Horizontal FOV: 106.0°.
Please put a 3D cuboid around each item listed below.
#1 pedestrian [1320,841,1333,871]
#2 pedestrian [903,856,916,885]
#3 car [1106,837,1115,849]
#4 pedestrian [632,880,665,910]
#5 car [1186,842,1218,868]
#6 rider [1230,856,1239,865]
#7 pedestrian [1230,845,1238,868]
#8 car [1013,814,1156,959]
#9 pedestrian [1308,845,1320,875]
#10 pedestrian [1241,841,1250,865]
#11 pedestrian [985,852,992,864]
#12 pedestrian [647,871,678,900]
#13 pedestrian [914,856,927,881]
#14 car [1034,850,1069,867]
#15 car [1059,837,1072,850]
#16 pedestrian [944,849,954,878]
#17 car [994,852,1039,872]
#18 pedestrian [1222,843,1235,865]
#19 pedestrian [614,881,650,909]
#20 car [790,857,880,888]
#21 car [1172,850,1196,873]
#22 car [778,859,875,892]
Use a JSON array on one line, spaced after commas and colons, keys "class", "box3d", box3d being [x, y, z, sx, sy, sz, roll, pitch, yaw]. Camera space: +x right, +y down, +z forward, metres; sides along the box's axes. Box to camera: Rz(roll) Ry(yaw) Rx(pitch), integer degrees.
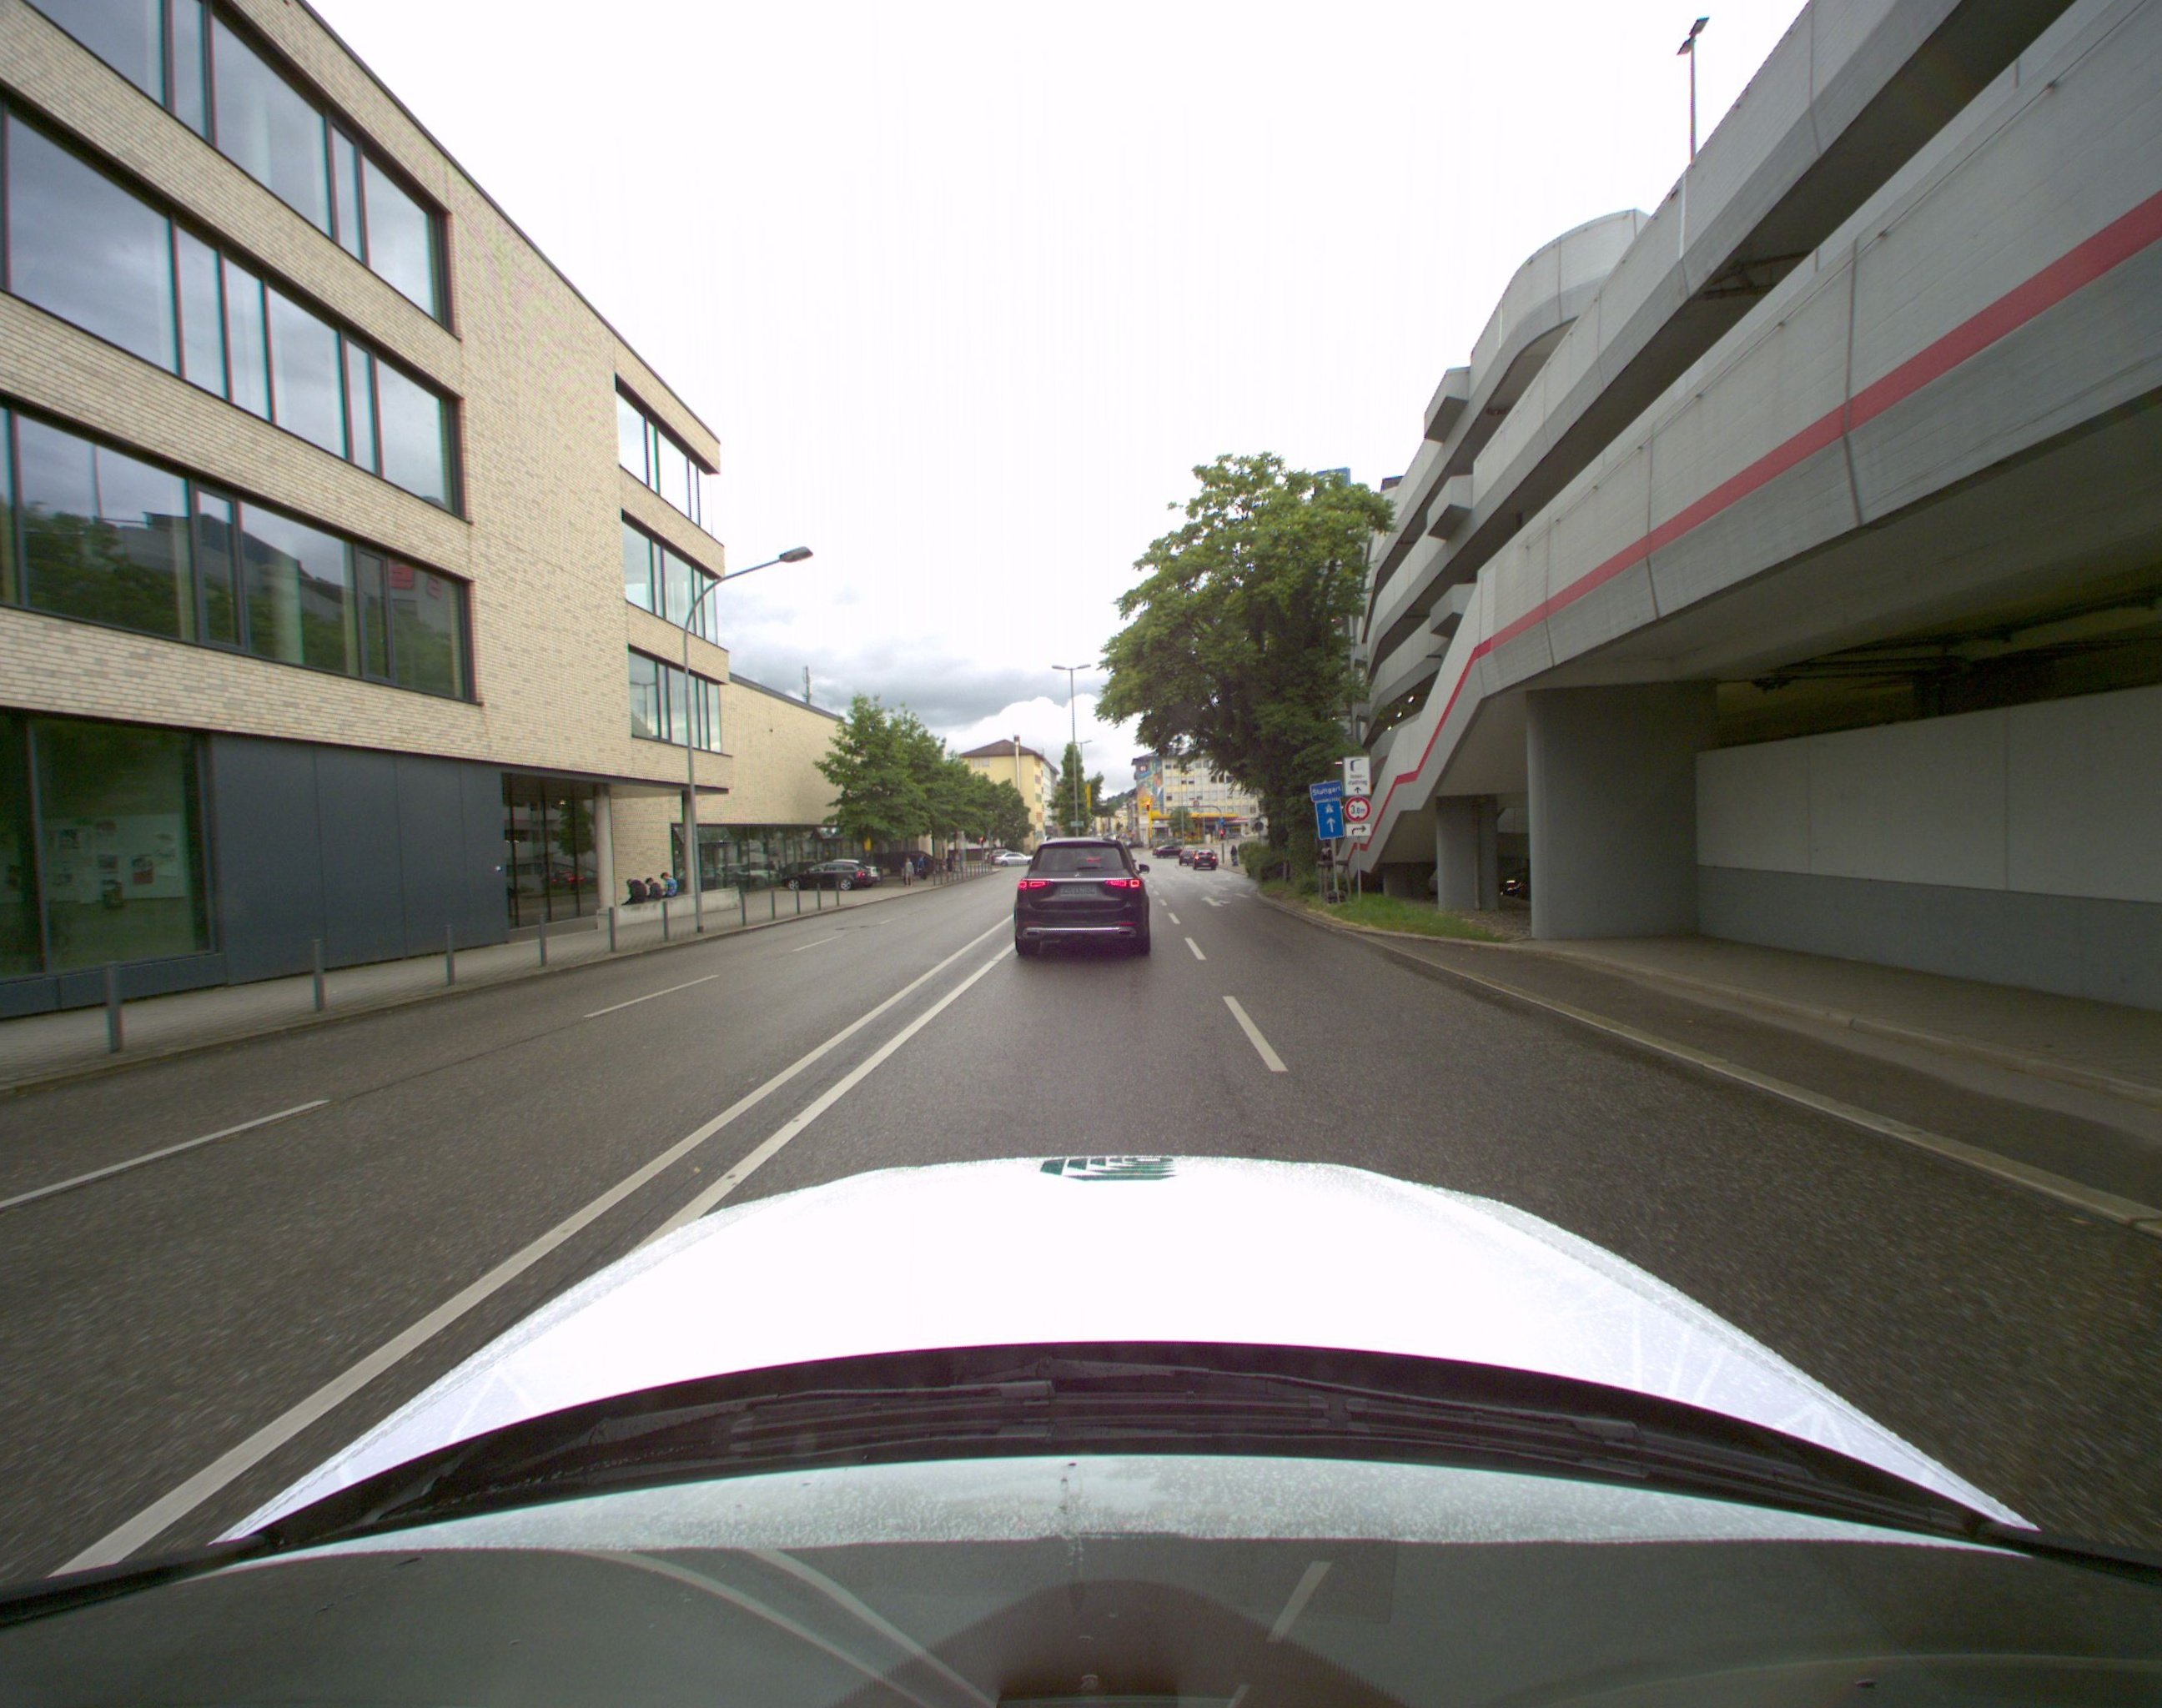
[{"class": "pedestrian", "box3d": [12.645, 0.097, 41.949, 0.578, 1.501, 0.505, 0, -1, 8]}, {"class": "pedestrian", "box3d": [-10.001, 0.971, 47.456, 0.673, 1.697, 0.479, 0, 0, 2]}, {"class": "car", "box3d": [6.515, -2.378, 178.892, 1.986, 2.011, 4.007, 0, 11, 1]}, {"class": "pedestrian", "box3d": [-12.932, 1.222, 24.363, 0.584, 0.845, 0.728, -1, -1, 3]}, {"class": "car", "box3d": [9.475, 0.055, 64.069, 1.986, 2.013, 4.001, -1, 0, 1]}, {"class": "rider", "box3d": [12.686, 0.499, 67.338, 0.626, 0.740, 0.698, 0, -1, 15]}, {"class": "pedestrian", "box3d": [12.785, 0.200, 68.069, 0.658, 1.917, 0.731, 0, -1, 10]}, {"class": "car", "box3d": [0.108, 0.466, 13.331, 1.986, 2.014, 4.001, 0, -1, 1]}, {"class": "pedestrian", "box3d": [12.057, 0.324, 42.108, 0.548, 1.532, 0.489, 0, -1, 9]}, {"class": "pedestrian", "box3d": [13.330, -0.112, 66.096, 0.618, 1.935, 0.610, 0, -1, 1]}, {"class": "pedestrian", "box3d": [-10.847, 0.470, 95.511, 0.708, 1.462, 0.598, 0, -1, 1]}, {"class": "pedestrian", "box3d": [-13.117, 0.989, 25.513, 0.678, 0.886, 0.524, 0, -1, 2]}, {"class": "pedestrian", "box3d": [-10.855, 0.990, 55.035, 0.686, 1.726, 0.754, 0, -2, 1]}, {"class": "car", "box3d": [-3.586, 0.574, 98.498, 3.987, 1.943, 1.993, -2, 0, -10]}, {"class": "car", "box3d": [-2.525, -1.684, 132.359, 1.986, 1.875, 5.142, 0, -1, 1]}, {"class": "pedestrian", "box3d": [-9.327, 0.665, 57.673, 0.586, 2.014, 0.749, 0, -1, 1]}, {"class": "car", "box3d": [-7.027, 0.806, 88.485, 4.797, 2.013, 1.997, -2, 0, -5]}, {"class": "pedestrian", "box3d": [13.548, -0.027, 74.922, 1.021, 2.014, 0.999, 0, 0, 1]}, {"class": "pedestrian", "box3d": [-12.927, 1.182, 23.448, 0.595, 0.786, 0.761, 0, -1, 3]}, {"class": "car", "box3d": [-13.569, 1.011, 45.094, 4.407, 1.573, 1.998, 0, 1, -4]}, {"class": "car", "box3d": [9.557, 0.698, 76.037, 1.985, 2.014, 4.003, 0, -1, 3]}, {"class": "car", "box3d": [-13.261, 1.125, 42.617, 4.459, 1.587, 1.997, -1, 0, -4]}]
